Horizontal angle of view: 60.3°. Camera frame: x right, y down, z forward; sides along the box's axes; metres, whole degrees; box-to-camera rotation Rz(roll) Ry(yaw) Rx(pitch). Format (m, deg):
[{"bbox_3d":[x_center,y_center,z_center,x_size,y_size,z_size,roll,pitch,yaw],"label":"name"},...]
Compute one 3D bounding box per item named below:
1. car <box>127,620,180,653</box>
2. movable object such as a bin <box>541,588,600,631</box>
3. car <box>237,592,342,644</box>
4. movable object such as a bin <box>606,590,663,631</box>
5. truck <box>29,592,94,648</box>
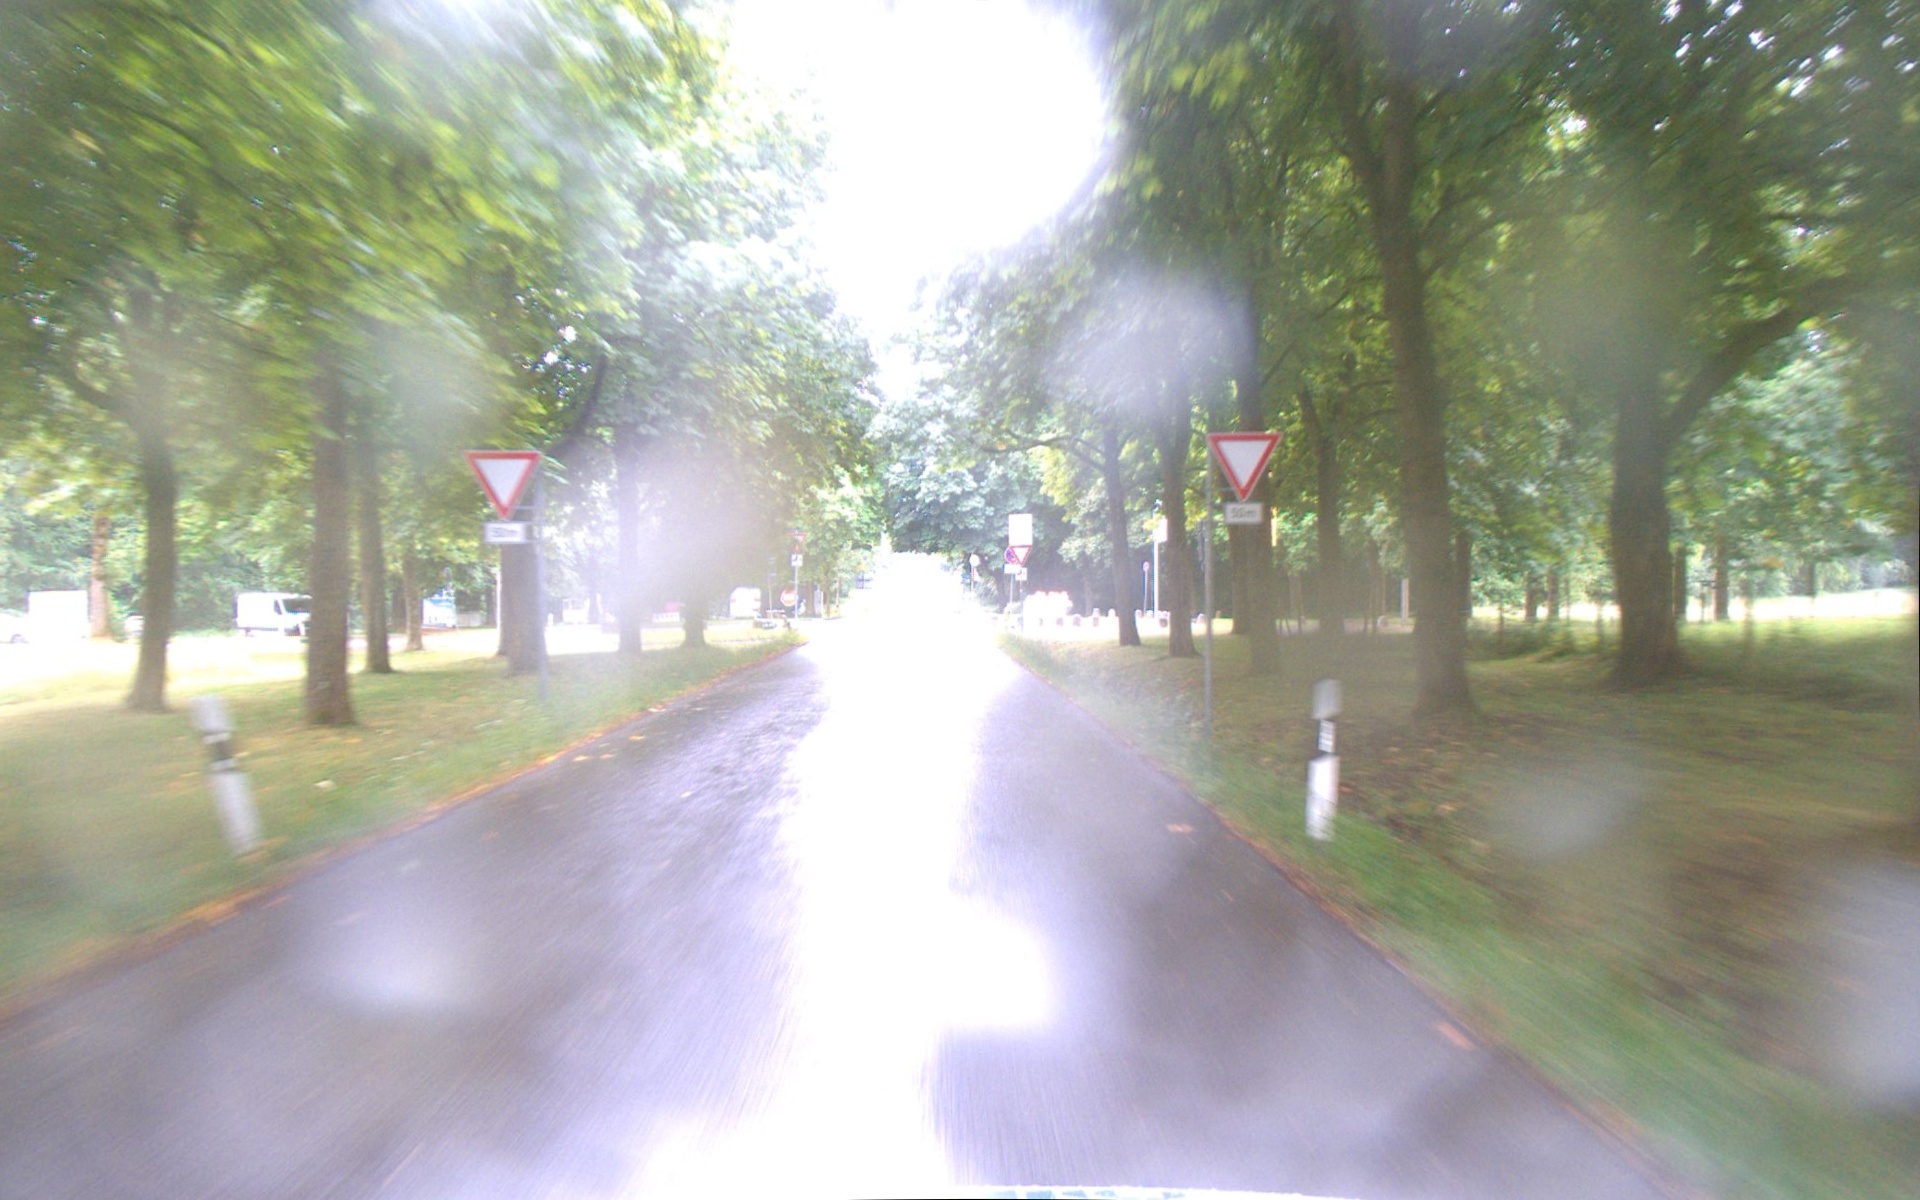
[{"bbox_3d":[-37.491,1.670,76.987,1.737,1.454,4.083,-1,0,-19],"label":"car"},{"bbox_3d":[-31.989,0.758,135.991,4.574,3.352,3.901,-1,0,-13],"label":"movable object such as a bin"},{"bbox_3d":[-33.142,0.925,81.696,5.873,2.450,2.380,-2,-2,40],"label":"car"},{"bbox_3d":[-27.113,0.867,137.763,4.502,3.352,3.655,-1,0,-13],"label":"movable object such as a bin"},{"bbox_3d":[-40.841,0.887,75.249,1.839,2.485,3.335,-1,0,-16],"label":"truck"}]
